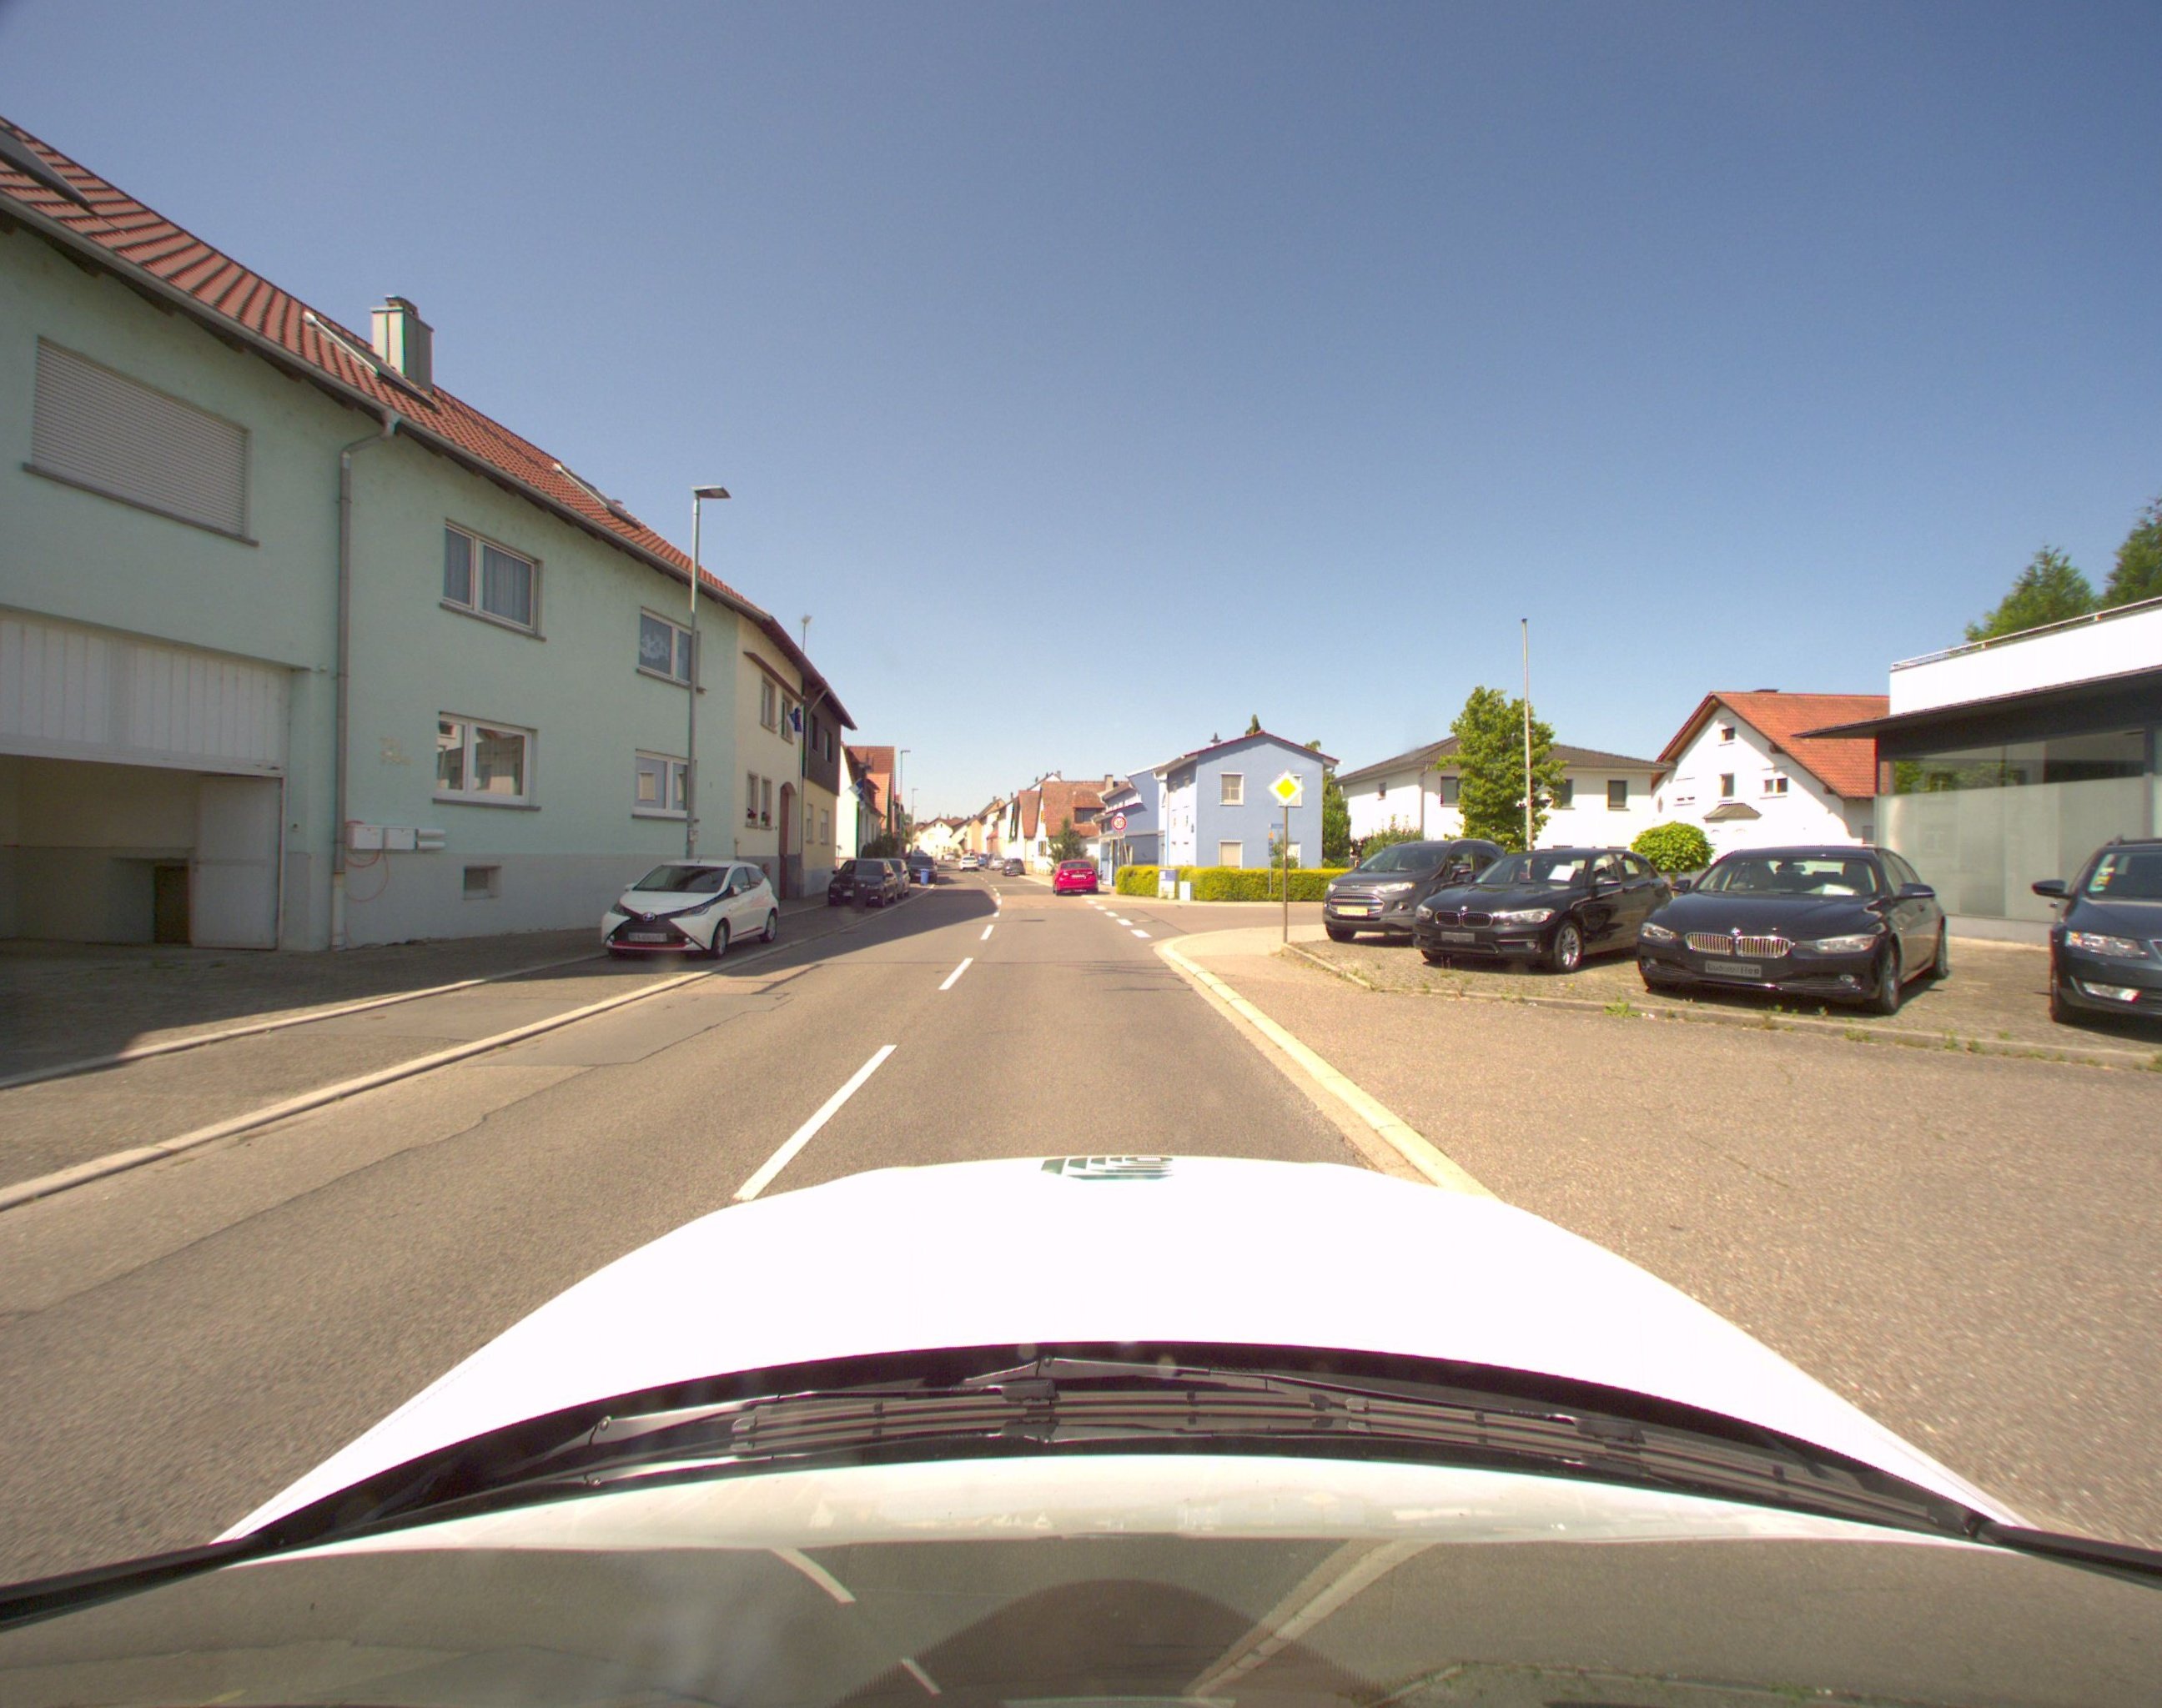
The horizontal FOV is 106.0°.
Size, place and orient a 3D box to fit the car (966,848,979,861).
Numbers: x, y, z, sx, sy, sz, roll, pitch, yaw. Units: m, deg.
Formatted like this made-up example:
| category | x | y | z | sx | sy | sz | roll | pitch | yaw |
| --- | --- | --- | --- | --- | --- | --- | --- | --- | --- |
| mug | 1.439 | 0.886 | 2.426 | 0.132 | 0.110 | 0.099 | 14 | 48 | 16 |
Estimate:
| category | x | y | z | sx | sy | sz | roll | pitch | yaw |
| --- | --- | --- | --- | --- | --- | --- | --- | --- | --- |
| car | -17.114 | 0.164 | 128.106 | 1.767 | 2.004 | 3.437 | 1 | -1 | -11 |

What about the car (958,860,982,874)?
| category | x | y | z | sx | sy | sz | roll | pitch | yaw |
| --- | --- | --- | --- | --- | --- | --- | --- | --- | --- |
| car | -10.833 | 1.269 | 79.209 | 1.995 | 1.288 | 3.984 | 1 | -1 | -11 |

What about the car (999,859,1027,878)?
| category | x | y | z | sx | sy | sz | roll | pitch | yaw |
| --- | --- | --- | --- | --- | --- | --- | --- | --- | --- |
| car | -5.515 | 1.158 | 65.872 | 1.706 | 1.433 | 3.873 | 2 | -1 | -12 |

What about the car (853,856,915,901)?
| category | x | y | z | sx | sy | sz | roll | pitch | yaw |
| --- | --- | --- | --- | --- | --- | --- | --- | --- | --- |
| car | -7.437 | 0.910 | 31.076 | 1.638 | 1.501 | 3.774 | 4 | -1 | -5 |

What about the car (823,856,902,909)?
| category | x | y | z | sx | sy | sz | roll | pitch | yaw |
| --- | --- | --- | --- | --- | --- | --- | --- | --- | --- |
| car | -6.861 | 0.864 | 25.951 | 1.676 | 1.437 | 3.988 | 4 | -1 | -5 |

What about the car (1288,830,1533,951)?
| category | x | y | z | sx | sy | sz | roll | pitch | yaw |
| --- | --- | --- | --- | --- | --- | --- | --- | --- | --- |
| car | 5.387 | 0.517 | 13.101 | 4.133 | 1.653 | 1.811 | 1 | -1 | -37 |

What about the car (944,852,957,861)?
| category | x | y | z | sx | sy | sz | roll | pitch | yaw |
| --- | --- | --- | --- | --- | --- | --- | --- | --- | --- |
| car | -21.479 | 0.413 | 134.311 | 1.995 | 1.288 | 3.788 | 1 | -1 | -11 |

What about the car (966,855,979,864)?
| category | x | y | z | sx | sy | sz | roll | pitch | yaw |
| --- | --- | --- | --- | --- | --- | --- | --- | --- | --- |
| car | -16.393 | 0.843 | 123.464 | 1.767 | 1.433 | 3.437 | 1 | -1 | -11 |

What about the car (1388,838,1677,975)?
| category | x | y | z | sx | sy | sz | roll | pitch | yaw |
| --- | --- | --- | --- | --- | --- | --- | --- | --- | --- |
| car | 5.855 | 0.575 | 10.433 | 3.889 | 1.447 | 1.732 | 1 | -1 | -35 |

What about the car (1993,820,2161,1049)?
| category | x | y | z | sx | sy | sz | roll | pitch | yaw |
| --- | --- | --- | --- | --- | --- | --- | --- | --- | --- |
| car | 9.134 | 0.566 | 6.717 | 4.338 | 1.550 | 1.961 | 1 | -1 | -39 |

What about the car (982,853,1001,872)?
| category | x | y | z | sx | sy | sz | roll | pitch | yaw |
| --- | --- | --- | --- | --- | --- | --- | --- | --- | --- |
| car | -9.551 | 0.896 | 87.049 | 1.650 | 1.910 | 3.611 | 2 | -1 | -12 |

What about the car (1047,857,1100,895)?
| category | x | y | z | sx | sy | sz | roll | pitch | yaw |
| --- | --- | --- | --- | --- | --- | --- | --- | --- | --- |
| car | -0.394 | 0.893 | 34.490 | 1.731 | 1.494 | 4.343 | 0 | 0 | -8 |

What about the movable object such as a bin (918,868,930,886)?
| category | x | y | z | sx | sy | sz | roll | pitch | yaw |
| --- | --- | --- | --- | --- | --- | --- | --- | --- | --- |
| movable object such as a bin | -8.711 | 1.270 | 45.160 | 0.596 | 0.982 | 0.529 | 2 | -1 | -10 |

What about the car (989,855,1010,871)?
| category | x | y | z | sx | sy | sz | roll | pitch | yaw |
| --- | --- | --- | --- | --- | --- | --- | --- | --- | --- |
| car | -8.289 | 0.896 | 82.299 | 1.706 | 1.497 | 3.438 | 2 | -1 | -12 |

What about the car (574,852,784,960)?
| category | x | y | z | sx | sy | sz | roll | pitch | yaw |
| --- | --- | --- | --- | --- | --- | --- | --- | --- | --- |
| car | -6.246 | 0.754 | 13.149 | 1.680 | 1.462 | 3.644 | 2 | -1 | -3 |

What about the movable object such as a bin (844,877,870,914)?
| category | x | y | z | sx | sy | sz | roll | pitch | yaw |
| --- | --- | --- | --- | --- | --- | --- | --- | --- | --- |
| movable object such as a bin | -6.087 | 1.113 | 22.161 | 0.551 | 0.928 | 0.822 | 6 | -1 | -11 |

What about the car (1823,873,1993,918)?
| category | x | y | z | sx | sy | sz | roll | pitch | yaw |
| --- | --- | --- | --- | --- | --- | --- | --- | --- | --- |
| car | 29.942 | 1.448 | 29.698 | 1.688 | 1.429 | 4.383 | 2 | -1 | -2 |

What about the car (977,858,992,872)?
| category | x | y | z | sx | sy | sz | roll | pitch | yaw |
| --- | --- | --- | --- | --- | --- | --- | --- | --- | --- |
| car | -11.647 | 1.315 | 97.901 | 1.421 | 1.515 | 3.290 | 2 | -1 | -12 |

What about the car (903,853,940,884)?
| category | x | y | z | sx | sy | sz | roll | pitch | yaw |
| --- | --- | --- | --- | --- | --- | --- | --- | --- | --- |
| car | -9.708 | 0.878 | 49.874 | 1.919 | 1.668 | 4.651 | 3 | -1 | -8 |

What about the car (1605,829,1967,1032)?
| category | x | y | z | sx | sy | sz | roll | pitch | yaw |
| --- | --- | --- | --- | --- | --- | --- | --- | --- | --- |
| car | 7.329 | 0.578 | 8.337 | 4.259 | 1.565 | 1.962 | 0 | 0 | -37 |
